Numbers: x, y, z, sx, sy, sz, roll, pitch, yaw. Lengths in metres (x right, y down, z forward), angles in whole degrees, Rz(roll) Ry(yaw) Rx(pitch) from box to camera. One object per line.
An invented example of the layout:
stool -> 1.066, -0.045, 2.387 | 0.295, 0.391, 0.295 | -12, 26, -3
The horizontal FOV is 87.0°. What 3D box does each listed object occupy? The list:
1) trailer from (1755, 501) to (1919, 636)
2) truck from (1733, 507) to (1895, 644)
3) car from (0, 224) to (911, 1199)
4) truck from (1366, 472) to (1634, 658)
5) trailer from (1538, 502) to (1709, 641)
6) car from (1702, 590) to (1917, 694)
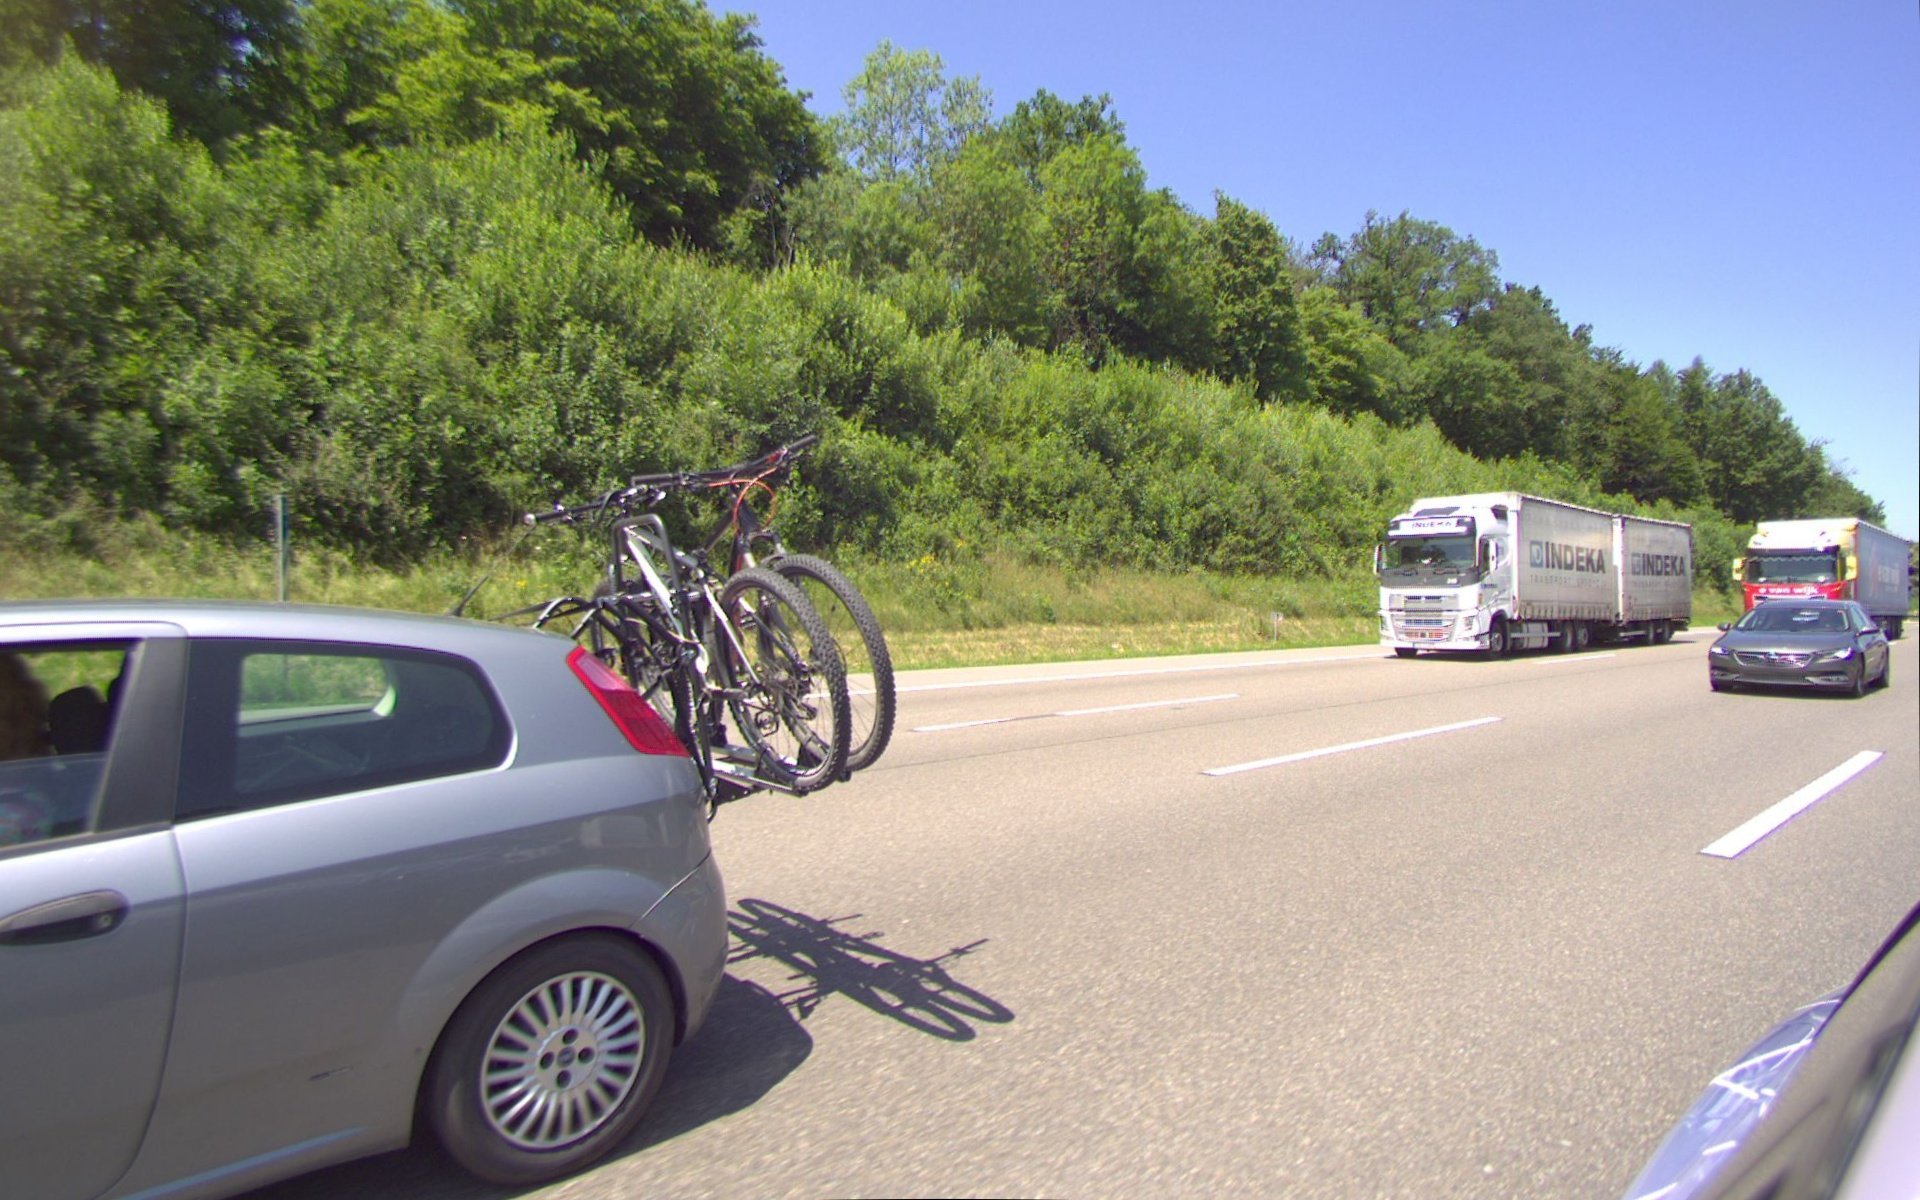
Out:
trailer -> 32.937, -1.003, 37.418 | 14.590, 4.195, 2.924 | 0, 1, -42
truck -> 28.284, -0.727, 33.390 | 7.407, 4.031, 3.016 | 0, 0, -41
car -> -2.560, 0.378, 2.288 | 4.700, 2.079, 1.965 | 0, 1, -41
truck -> 14.987, -0.824, 27.484 | 10.777, 4.213, 2.726 | 0, 0, -41
trailer -> 22.192, -0.857, 33.632 | 8.236, 4.121, 2.583 | 0, 0, -41
car -> 14.271, 0.592, 16.881 | 5.133, 1.471, 1.970 | -1, 0, -41
